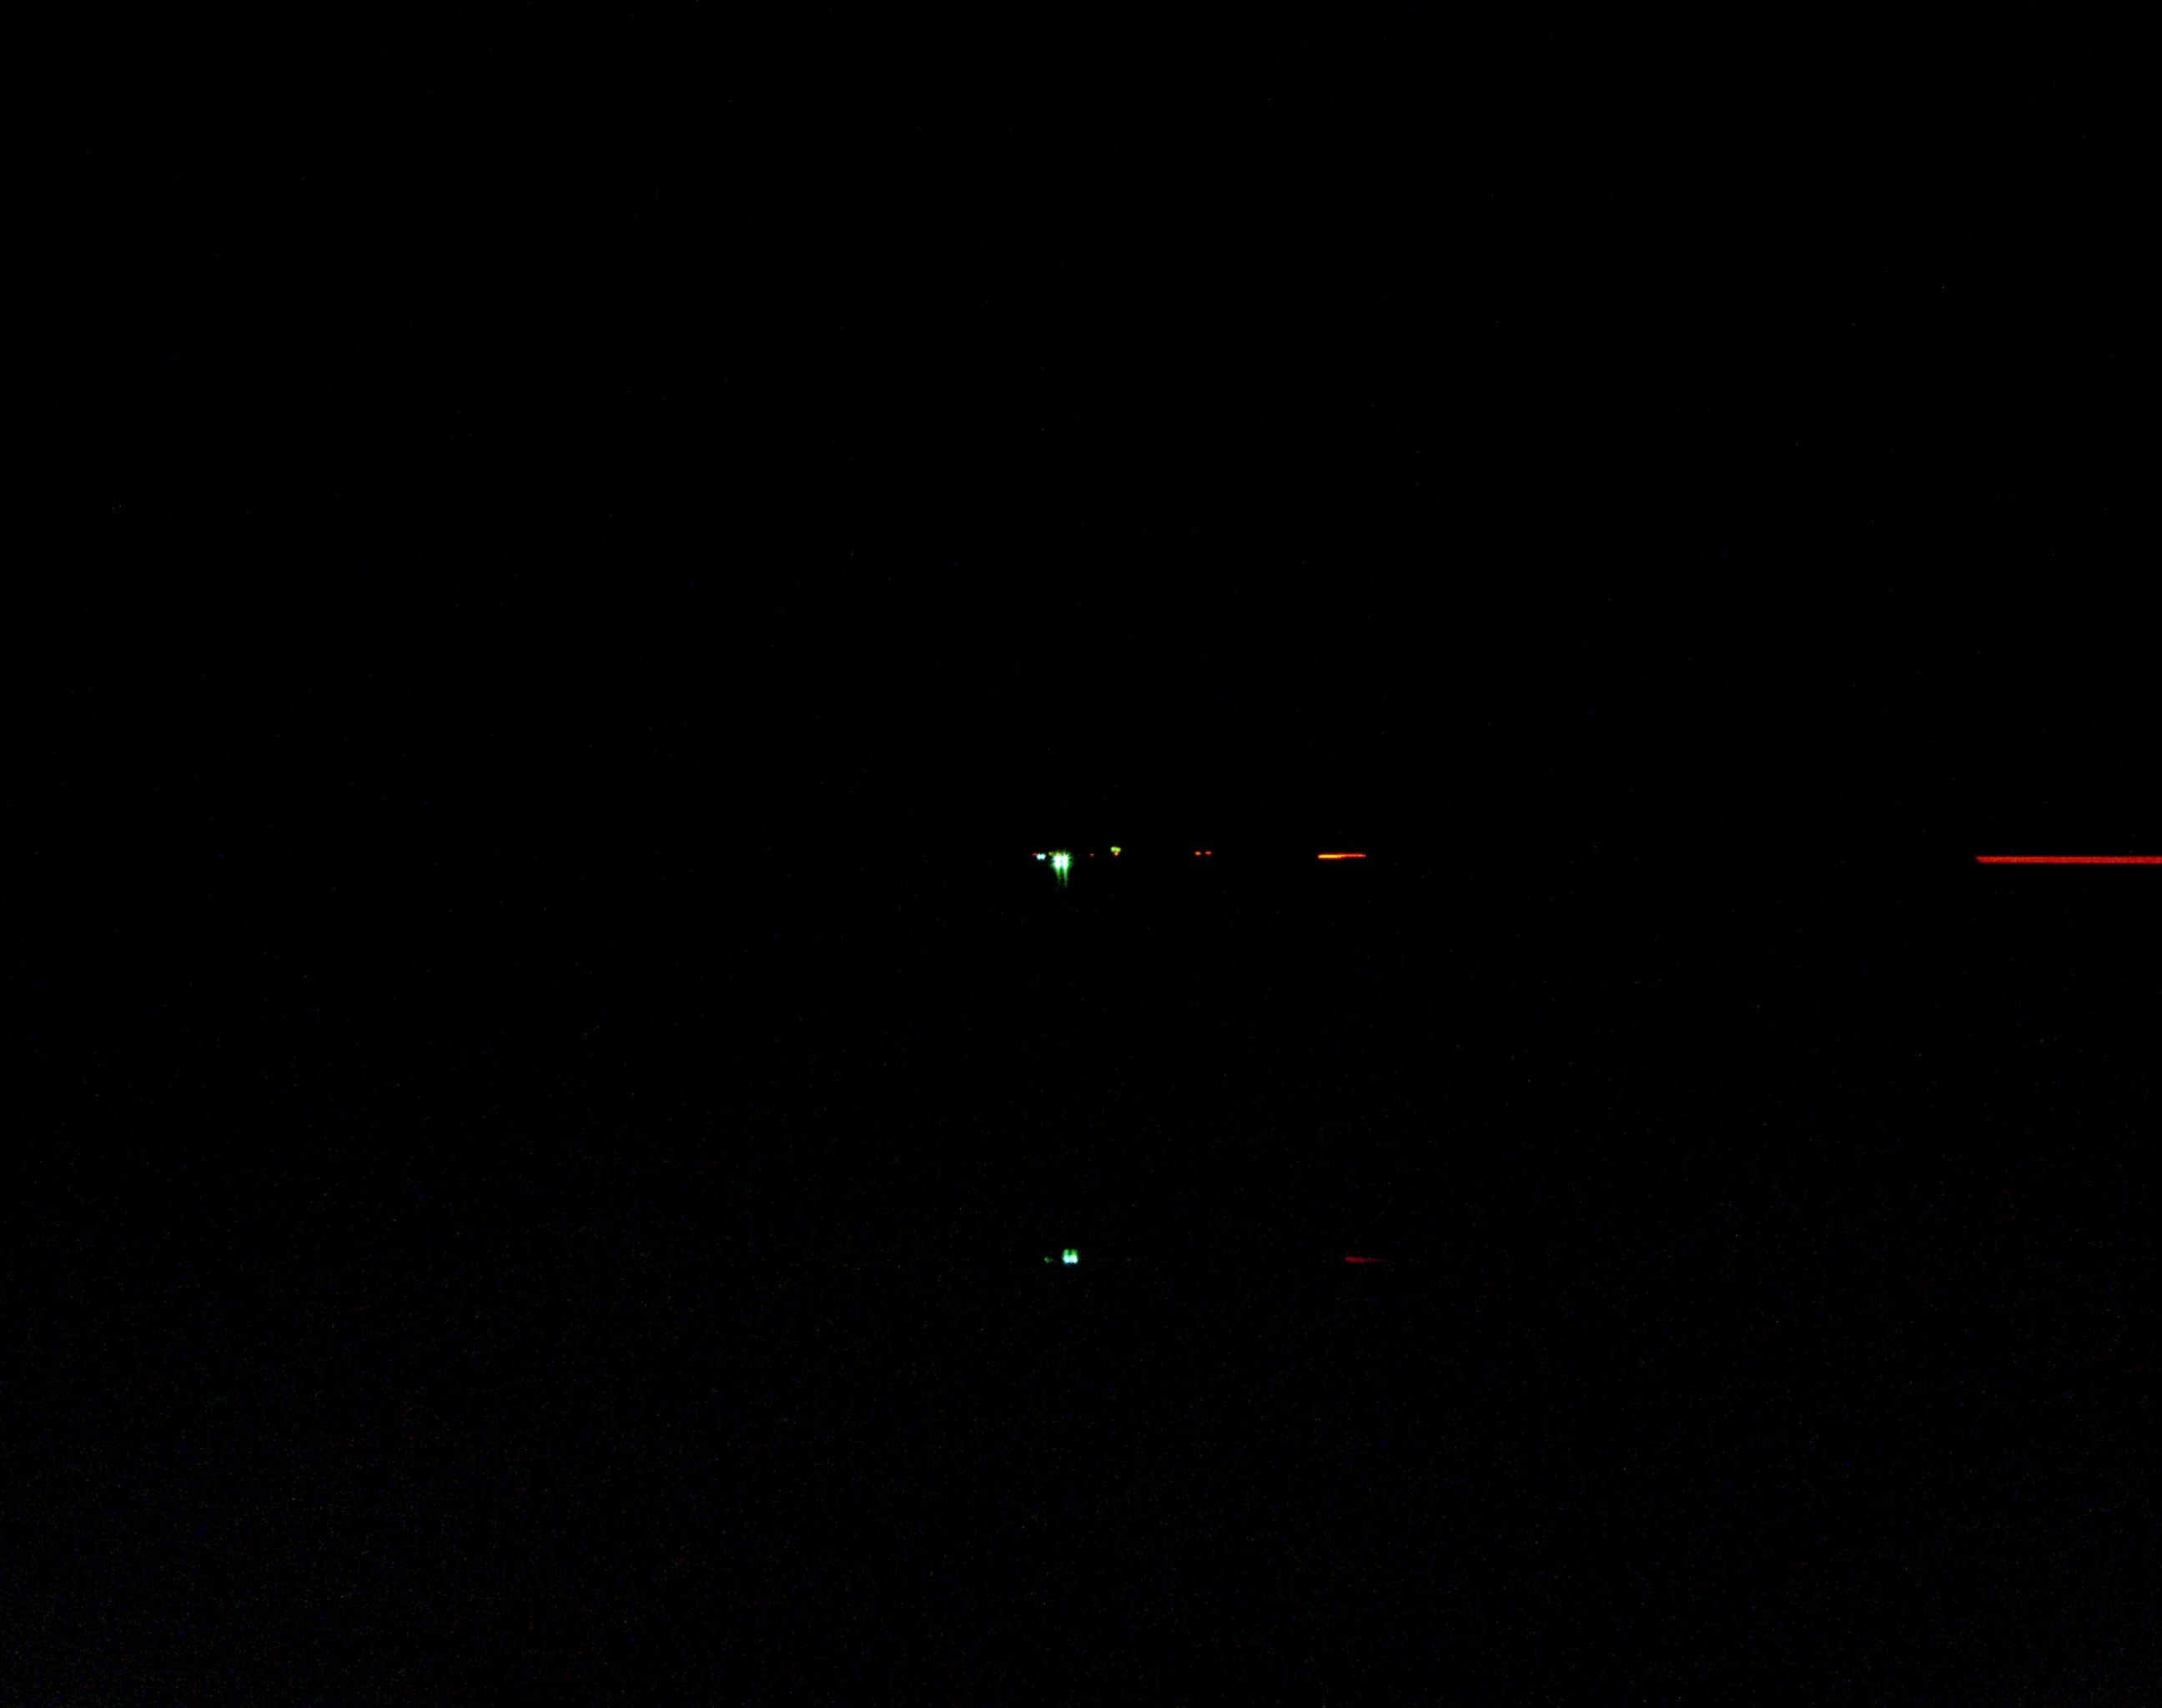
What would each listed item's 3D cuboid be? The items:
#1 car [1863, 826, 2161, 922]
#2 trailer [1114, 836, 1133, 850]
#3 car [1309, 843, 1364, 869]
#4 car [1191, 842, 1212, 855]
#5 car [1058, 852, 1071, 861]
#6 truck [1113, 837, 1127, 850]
[{"bbox_3d":[19.298,0.307,15.573,1.999,1.641,4.398,-2,1,0],"label":"car"},{"bbox_3d":[12.687,-3.265,229.910,3.553,3.977,17.273,-2,1,-4],"label":"trailer"},{"bbox_3d":[15.542,0.070,46.439,1.998,1.460,4.207,-2,1,0],"label":"car"},{"bbox_3d":[17.200,-0.775,108.714,1.999,1.776,4.397,-2,1,-3],"label":"car"},{"bbox_3d":[-3.125,0.432,144.669,2.155,1.558,4.579,-2,1,-4],"label":"car"},{"bbox_3d":[12.107,-3.348,237.231,3.512,3.947,6.695,-2,1,-5],"label":"truck"}]
